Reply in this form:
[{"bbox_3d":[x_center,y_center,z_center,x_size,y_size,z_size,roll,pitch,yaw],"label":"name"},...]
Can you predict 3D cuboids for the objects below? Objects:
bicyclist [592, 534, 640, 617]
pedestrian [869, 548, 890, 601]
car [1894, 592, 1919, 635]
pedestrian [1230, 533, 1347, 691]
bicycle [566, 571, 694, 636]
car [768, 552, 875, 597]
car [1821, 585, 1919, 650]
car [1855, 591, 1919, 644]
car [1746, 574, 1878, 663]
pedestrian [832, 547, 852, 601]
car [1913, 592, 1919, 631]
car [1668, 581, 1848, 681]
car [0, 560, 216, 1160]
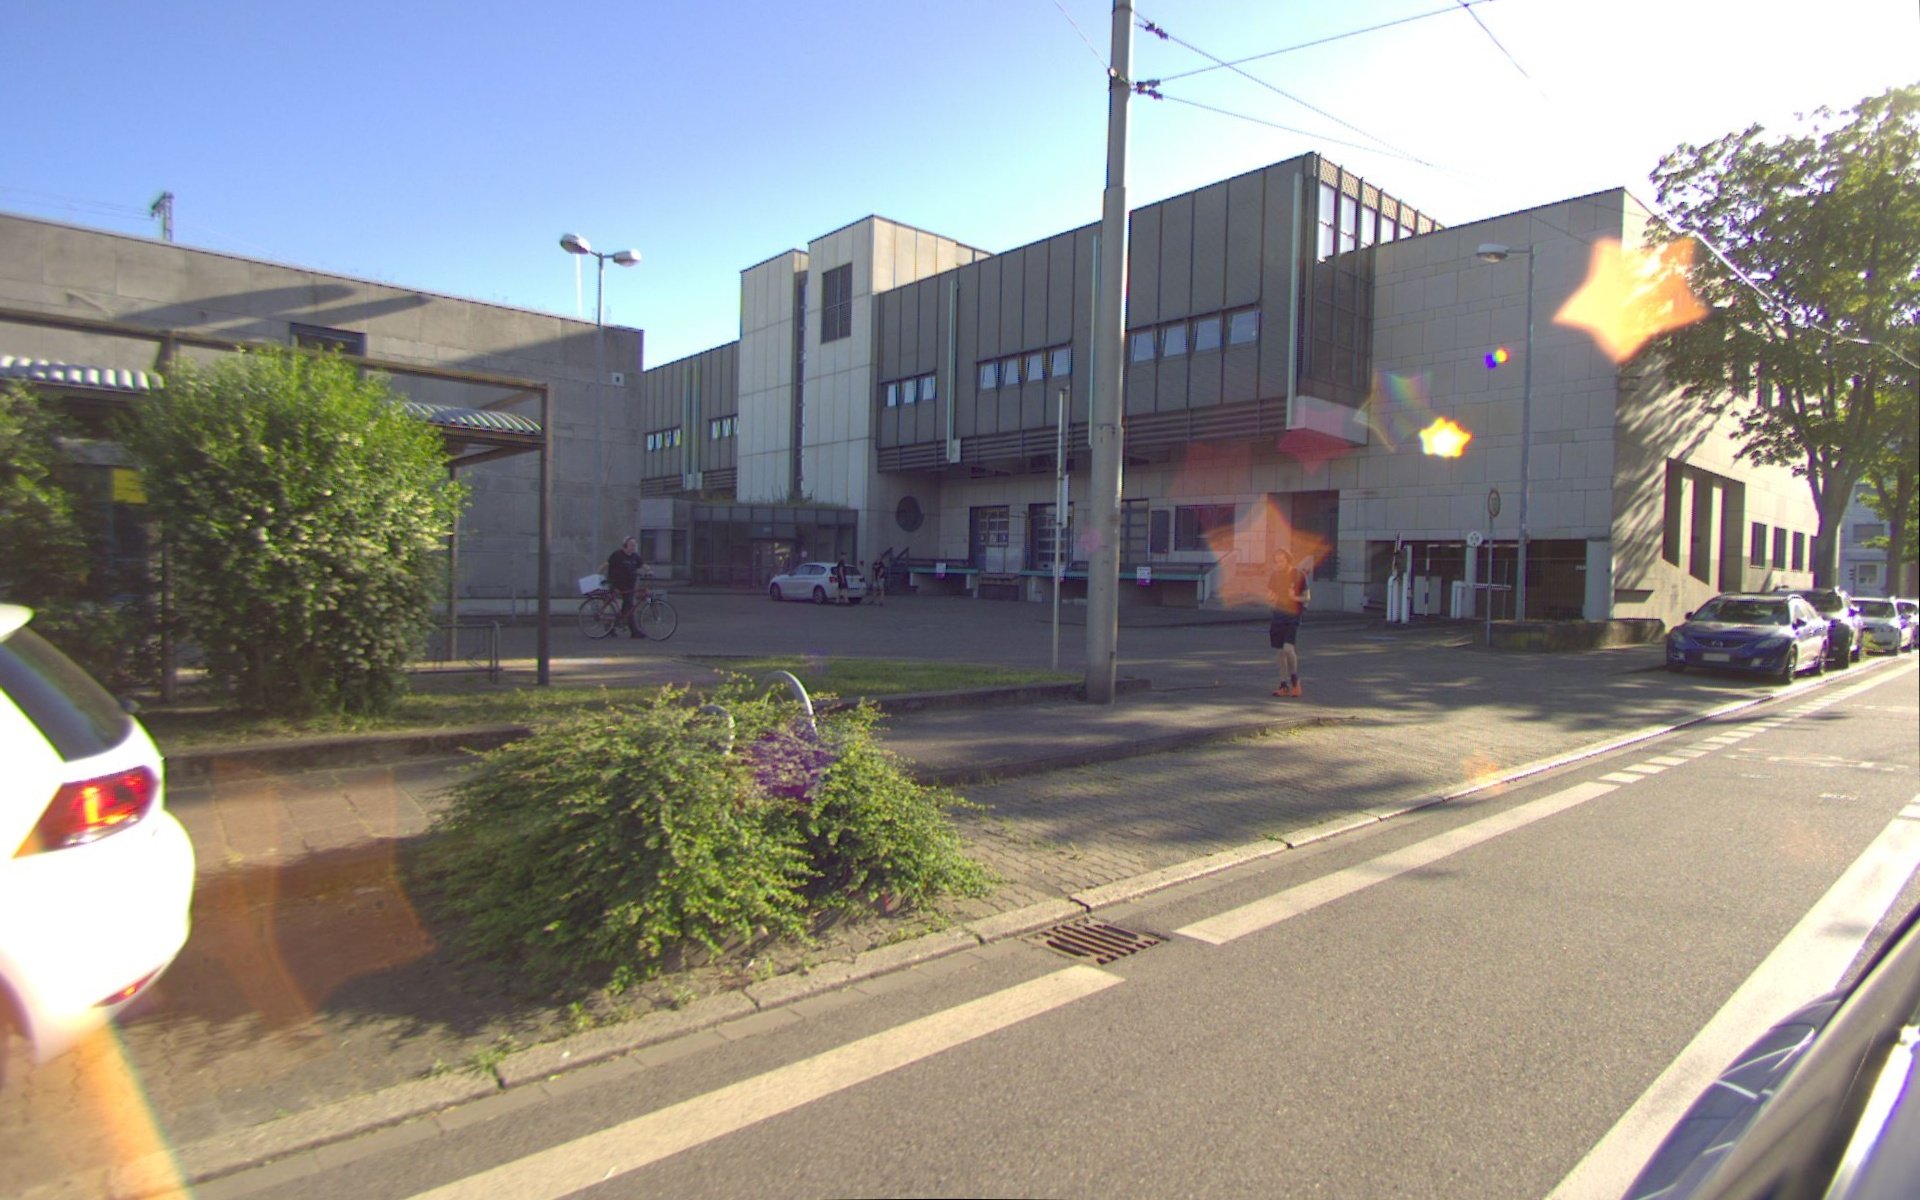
[{"bbox_3d":[-5.953,-0.428,17.535,0.571,1.401,0.730,0,1,3],"label":"bicyclist"},{"bbox_3d":[-2.735,-0.861,34.410,0.502,1.803,0.481,0,1,-39],"label":"pedestrian"},{"bbox_3d":[35.196,0.491,36.587,4.583,1.424,1.680,-1,4,-43],"label":"car"},{"bbox_3d":[4.042,0.122,12.427,1.281,1.810,0.672,-1,6,-41],"label":"pedestrian"},{"bbox_3d":[-5.699,0.044,17.525,1.973,1.084,0.753,0,1,4],"label":"bicycle"},{"bbox_3d":[-4.966,-0.899,35.887,1.869,1.492,4.081,-1,2,-41],"label":"car"},{"bbox_3d":[24.442,0.427,26.892,4.543,1.508,1.716,0,3,-41],"label":"car"},{"bbox_3d":[28.838,0.492,30.881,4.253,1.425,1.712,-1,4,-41],"label":"car"},{"bbox_3d":[18.609,0.315,22.036,4.207,1.733,1.743,-1,2,-44],"label":"car"},{"bbox_3d":[-3.931,-0.864,33.697,0.502,1.803,0.481,0,1,-39],"label":"pedestrian"},{"bbox_3d":[39.632,0.453,40.586,3.930,1.498,1.653,-1,2,-41],"label":"car"},{"bbox_3d":[14.731,0.466,18.587,4.578,1.499,1.706,-1,5,-41],"label":"car"},{"bbox_3d":[-4.232,0.650,1.902,4.427,1.435,1.679,-1,4,-43],"label":"car"}]
